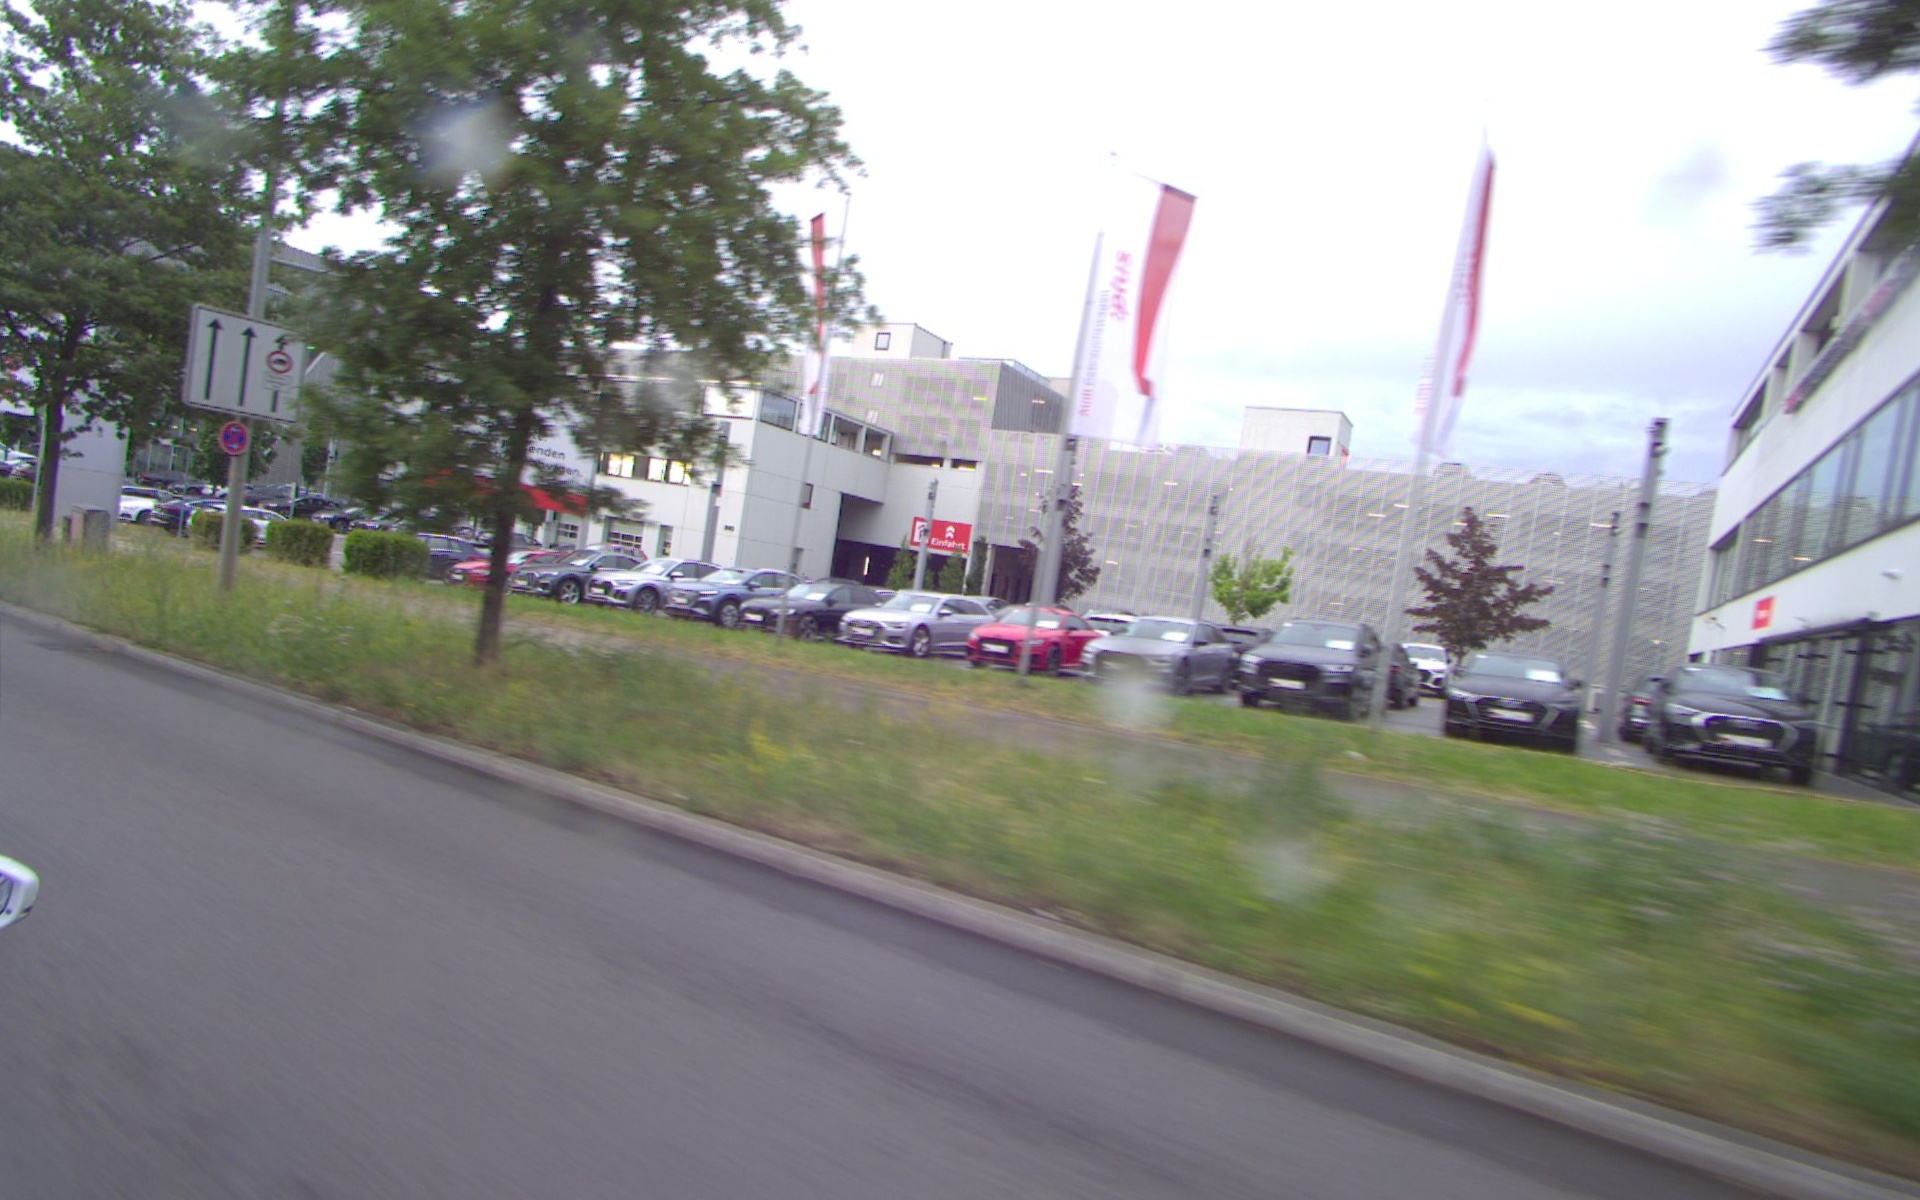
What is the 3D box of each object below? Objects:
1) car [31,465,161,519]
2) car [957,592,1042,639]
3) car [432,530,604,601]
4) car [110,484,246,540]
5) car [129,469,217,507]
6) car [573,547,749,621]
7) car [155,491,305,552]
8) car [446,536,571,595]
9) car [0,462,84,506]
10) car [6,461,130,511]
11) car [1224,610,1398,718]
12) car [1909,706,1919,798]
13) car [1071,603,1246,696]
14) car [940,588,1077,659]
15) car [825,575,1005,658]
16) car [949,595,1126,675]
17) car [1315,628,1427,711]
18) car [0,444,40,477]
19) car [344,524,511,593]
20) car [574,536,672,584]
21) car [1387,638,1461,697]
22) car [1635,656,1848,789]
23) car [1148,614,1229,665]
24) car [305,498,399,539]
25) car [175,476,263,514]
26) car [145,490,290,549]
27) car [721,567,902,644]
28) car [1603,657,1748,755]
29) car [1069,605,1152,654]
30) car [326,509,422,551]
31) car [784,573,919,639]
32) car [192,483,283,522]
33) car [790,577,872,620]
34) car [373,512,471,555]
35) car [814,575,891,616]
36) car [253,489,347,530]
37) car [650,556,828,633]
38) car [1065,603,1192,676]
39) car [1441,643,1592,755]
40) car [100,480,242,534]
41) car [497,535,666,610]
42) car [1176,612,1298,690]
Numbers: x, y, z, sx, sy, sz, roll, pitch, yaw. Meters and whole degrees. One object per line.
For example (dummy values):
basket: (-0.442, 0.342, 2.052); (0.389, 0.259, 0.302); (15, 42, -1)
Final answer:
car: (-39.586, -4.913, 46.211); (1.664, 1.628, 4.113); (9, -1, 31)
car: (1.760, 0.702, 43.654); (1.796, 1.613, 4.284); (7, -1, 29)
car: (-13.299, -0.988, 30.565); (1.897, 1.570, 4.471); (7, -1, 27)
car: (-32.874, -3.672, 42.416); (1.664, 1.612, 4.113); (7, -2, 30)
car: (-51.320, -7.293, 65.690); (1.664, 1.592, 4.113); (8, -1, 30)
car: (-8.149, -0.392, 27.840); (1.899, 1.570, 4.466); (7, 0, 31)
car: (-27.572, -2.925, 38.160); (1.913, 1.613, 4.119); (6, -2, 23)
car: (-15.849, -1.222, 35.452); (3.496, 1.614, 1.770); (7, 2, 0)
car: (-48.050, -6.057, 51.495); (1.664, 1.592, 4.429); (8, -1, 30)
car: (-43.437, -5.528, 49.078); (1.664, 1.592, 4.113); (8, -1, 30)
car: (6.524, 1.158, 18.367); (2.006, 1.519, 4.402); (6, 0, 31)
car: (15.322, 2.331, 13.101); (3.857, 1.354, 1.900); (6, 0, 31)
car: (4.019, 0.988, 19.778); (1.859, 1.445, 4.402); (6, 0, 31)
car: (1.445, 0.704, 28.096); (1.898, 1.570, 4.469); (7, -1, 29)
car: (-0.909, 0.444, 23.141); (1.899, 1.473, 4.468); (7, -1, 31)
car: (1.766, 0.769, 21.386); (1.899, 1.365, 4.401); (6, 0, 31)
car: (9.742, 1.635, 23.659); (1.796, 1.570, 4.284); (7, -1, 29)
car: (-55.847, -8.274, 57.621); (1.664, 1.592, 4.268); (8, -1, 30)
car: (-17.134, -1.310, 32.500); (4.279, 1.613, 1.838); (7, 0, 0)
car: (-17.897, -2.108, 53.643); (1.968, 1.877, 4.530); (8, -1, 35)
car: (15.483, 2.257, 33.447); (1.796, 1.613, 4.284); (7, -1, 29)
car: (11.763, 1.774, 15.470); (1.899, 1.500, 4.404); (7, -1, 31)
car: (8.945, 1.573, 39.174); (1.796, 1.613, 4.284); (7, -1, 29)
car: (-33.711, -4.504, 55.877); (1.664, 1.593, 4.112); (7, -1, 31)
car: (-47.484, -6.715, 64.559); (1.730, 1.592, 4.113); (8, -1, 30)
car: (-29.360, -3.163, 39.903); (1.840, 1.612, 4.113); (7, -2, 30)
car: (-3.503, 0.189, 24.596); (1.899, 1.474, 4.466); (7, 0, 31)
car: (14.453, 2.090, 20.565); (1.796, 1.570, 4.284); (7, -1, 29)
car: (6.163, 1.245, 40.750); (1.796, 1.613, 4.284); (7, -1, 29)
car: (-32.039, -3.809, 55.118); (1.664, 1.593, 4.112); (8, 0, 30)
car: (-3.244, 0.229, 30.936); (1.796, 1.570, 4.282); (7, -1, 31)
car: (-44.608, -5.997, 62.211); (1.664, 1.592, 4.113); (8, -1, 30)
car: (-6.081, -0.094, 47.556); (3.496, 1.614, 1.770); (7, 2, 0)
car: (-27.590, -3.383, 51.713); (1.664, 1.593, 4.113); (6, -1, 30)
car: (-5.333, -0.256, 50.338); (3.496, 1.614, 1.770); (7, 2, 0)
car: (-37.935, -5.177, 57.941); (1.664, 1.593, 4.112); (9, 0, 30)
car: (-5.655, -0.089, 26.328); (1.899, 1.547, 4.466); (7, 0, 31)
car: (4.501, 1.084, 26.309); (1.796, 1.570, 4.284); (7, -1, 29)
car: (9.151, 1.548, 16.619); (1.805, 1.395, 4.326); (6, 0, 29)
car: (-34.505, -4.032, 44.139); (1.664, 1.613, 4.527); (7, -1, 30)
car: (-10.733, -0.748, 28.872); (1.796, 1.613, 4.284); (7, -1, 29)
car: (6.889, 1.286, 24.697); (1.796, 1.570, 4.284); (7, -1, 29)
